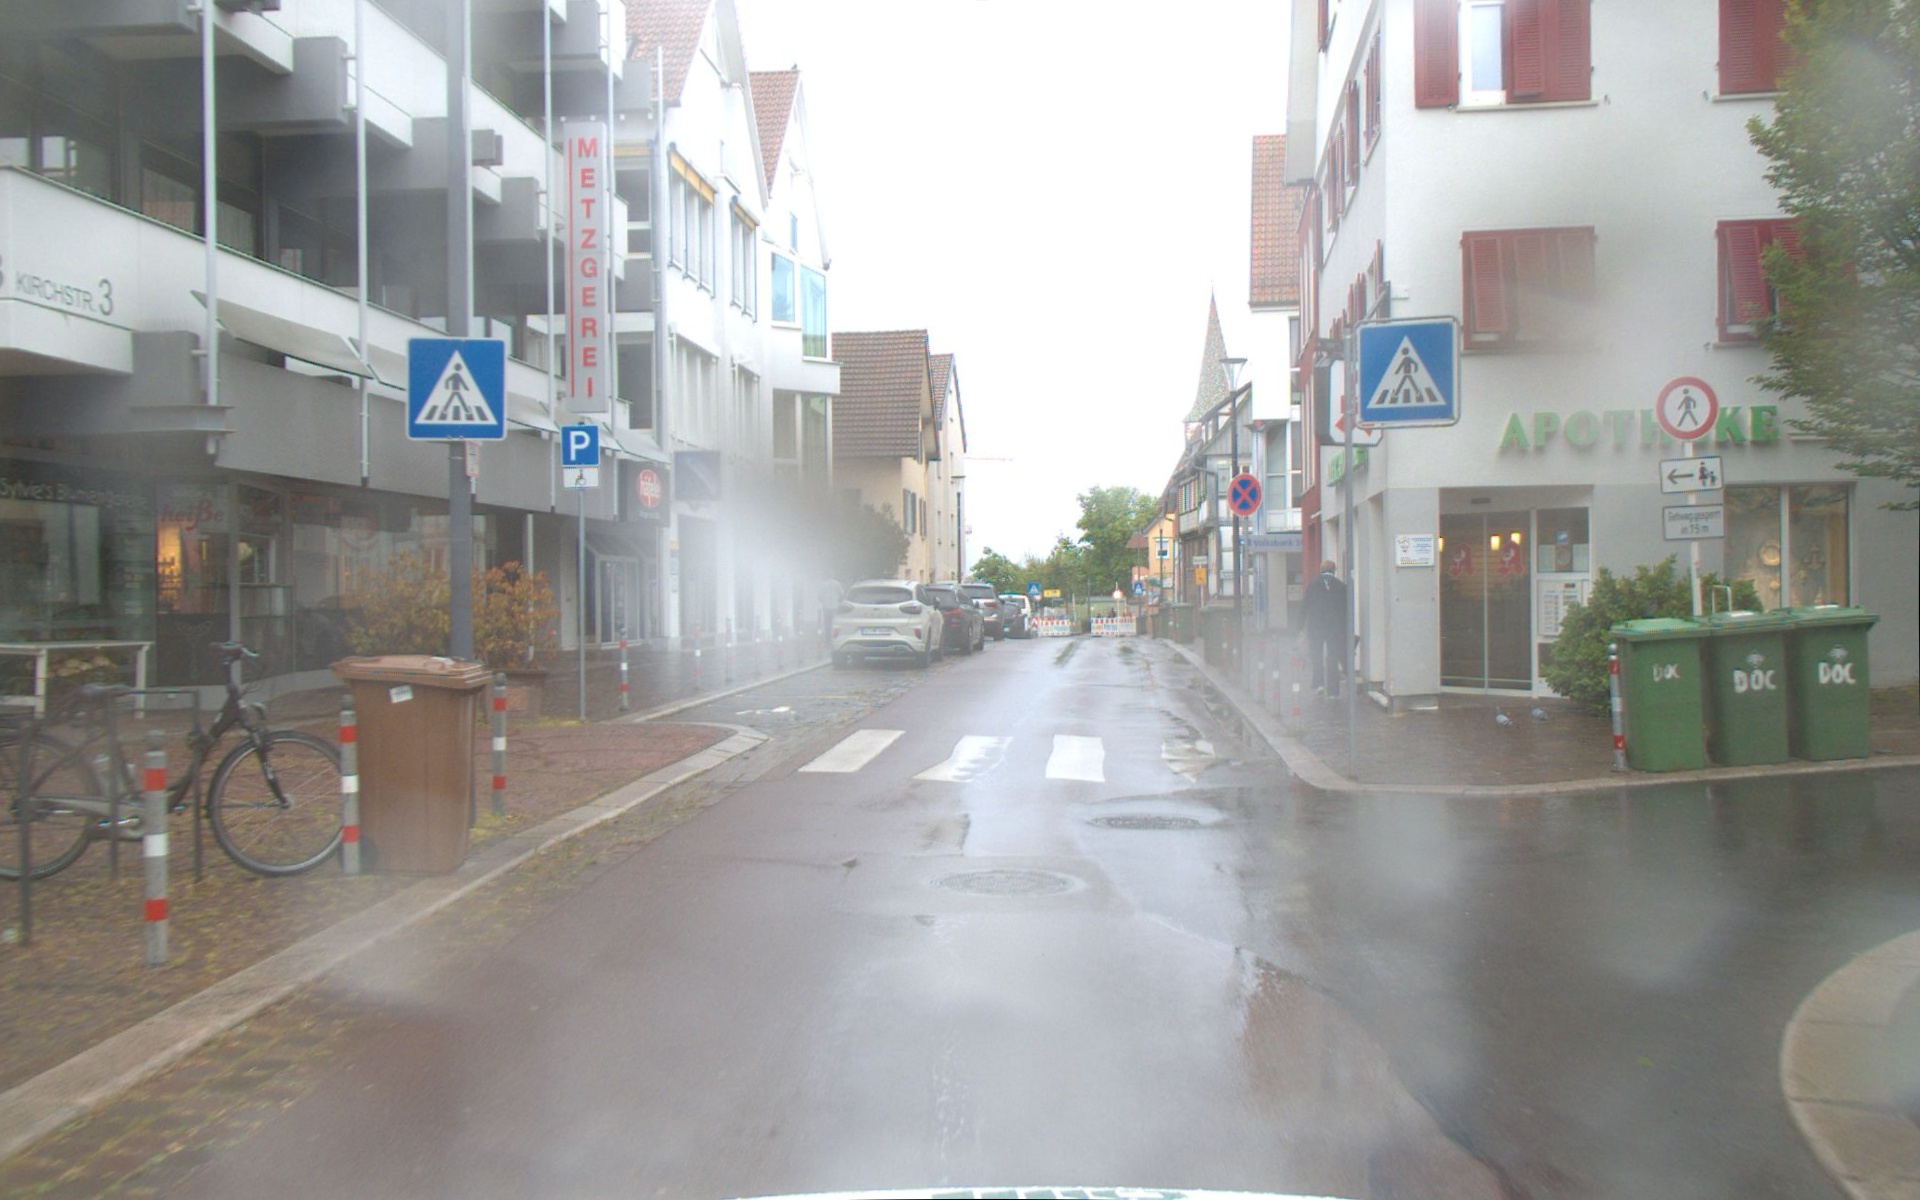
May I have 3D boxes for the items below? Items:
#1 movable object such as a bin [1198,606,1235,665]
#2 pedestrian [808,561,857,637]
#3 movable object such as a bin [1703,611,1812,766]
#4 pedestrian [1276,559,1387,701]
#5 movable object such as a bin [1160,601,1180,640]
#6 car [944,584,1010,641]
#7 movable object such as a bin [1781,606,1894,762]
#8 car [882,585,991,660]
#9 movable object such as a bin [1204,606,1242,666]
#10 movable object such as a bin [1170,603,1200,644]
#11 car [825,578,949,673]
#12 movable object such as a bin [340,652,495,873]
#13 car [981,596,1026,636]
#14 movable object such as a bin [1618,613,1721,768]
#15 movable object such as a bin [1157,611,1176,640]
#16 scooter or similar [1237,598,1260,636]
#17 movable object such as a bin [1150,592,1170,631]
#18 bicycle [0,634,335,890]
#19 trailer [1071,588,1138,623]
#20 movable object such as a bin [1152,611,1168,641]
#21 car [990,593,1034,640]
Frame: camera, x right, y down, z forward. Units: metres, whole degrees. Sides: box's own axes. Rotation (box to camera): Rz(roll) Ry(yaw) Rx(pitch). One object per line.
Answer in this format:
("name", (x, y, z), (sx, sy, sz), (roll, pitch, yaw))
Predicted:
("movable object such as a bin", (4.911, 0.678, 31.655), (0.662, 1.103, 0.698), (0, -1, 7))
("pedestrian", (-3.134, -0.031, 40.778), (1.013, 1.838, 1.117), (0, 0, 5))
("movable object such as a bin", (5.717, 0.628, 11.881), (0.490, 1.075, 0.549), (-2, -2, 5))
("pedestrian", (4.735, 0.373, 21.171), (1.153, 1.727, 1.178), (-2, 0, 2))
("movable object such as a bin", (7.043, 0.685, 55.395), (0.624, 1.313, 0.632), (0, -2, 10))
("car", (0.551, 0.418, 49.155), (1.742, 1.596, 4.409), (0, -2, 3))
("movable object such as a bin", (6.271, 0.594, 11.838), (0.490, 1.075, 0.549), (-2, -2, 5))
("car", (-0.443, 0.458, 36.687), (1.791, 1.525, 4.767), (-1, 0, 6))
("movable object such as a bin", (4.912, 0.665, 30.910), (0.662, 1.105, 0.718), (0, -1, 7))
("movable object such as a bin", (6.335, 0.660, 46.574), (0.787, 1.151, 0.863), (0, -2, 4))
("car", (-1.265, 0.411, 30.439), (1.753, 1.578, 4.003), (1, 1, 5))
("movable object such as a bin", (-2.719, 0.797, 8.348), (0.674, 1.038, 0.630), (0, 0, -12))
("car", (1.665, 0.626, 62.377), (1.646, 1.413, 3.826), (0, -2, 2))
("movable object such as a bin", (5.106, 0.644, 11.926), (0.490, 1.075, 0.549), (-2, -2, 5))
("movable object such as a bin", (7.968, 0.990, 63.733), (0.664, 1.116, 0.650), (0, -1, 1))
("scooter or similar", (8.971, 0.528, 51.376), (0.651, 1.166, 1.447), (-1, -2, 12))
("movable object such as a bin", (6.807, 0.402, 56.173), (0.624, 1.313, 0.632), (0, -2, 10))
("bicycle", (-3.986, 0.761, 8.042), (1.716, 1.185, 0.442), (0, -2, -15))
("trailer", (12.692, 0.520, 145.286), (5.662, 2.999, 2.000), (0, -2, 0))
("movable object such as a bin", (8.007, 1.045, 66.210), (0.624, 1.167, 0.604), (0, -2, 10))
("car", (2.178, 0.714, 68.358), (1.687, 1.857, 4.429), (0, -2, 3))
